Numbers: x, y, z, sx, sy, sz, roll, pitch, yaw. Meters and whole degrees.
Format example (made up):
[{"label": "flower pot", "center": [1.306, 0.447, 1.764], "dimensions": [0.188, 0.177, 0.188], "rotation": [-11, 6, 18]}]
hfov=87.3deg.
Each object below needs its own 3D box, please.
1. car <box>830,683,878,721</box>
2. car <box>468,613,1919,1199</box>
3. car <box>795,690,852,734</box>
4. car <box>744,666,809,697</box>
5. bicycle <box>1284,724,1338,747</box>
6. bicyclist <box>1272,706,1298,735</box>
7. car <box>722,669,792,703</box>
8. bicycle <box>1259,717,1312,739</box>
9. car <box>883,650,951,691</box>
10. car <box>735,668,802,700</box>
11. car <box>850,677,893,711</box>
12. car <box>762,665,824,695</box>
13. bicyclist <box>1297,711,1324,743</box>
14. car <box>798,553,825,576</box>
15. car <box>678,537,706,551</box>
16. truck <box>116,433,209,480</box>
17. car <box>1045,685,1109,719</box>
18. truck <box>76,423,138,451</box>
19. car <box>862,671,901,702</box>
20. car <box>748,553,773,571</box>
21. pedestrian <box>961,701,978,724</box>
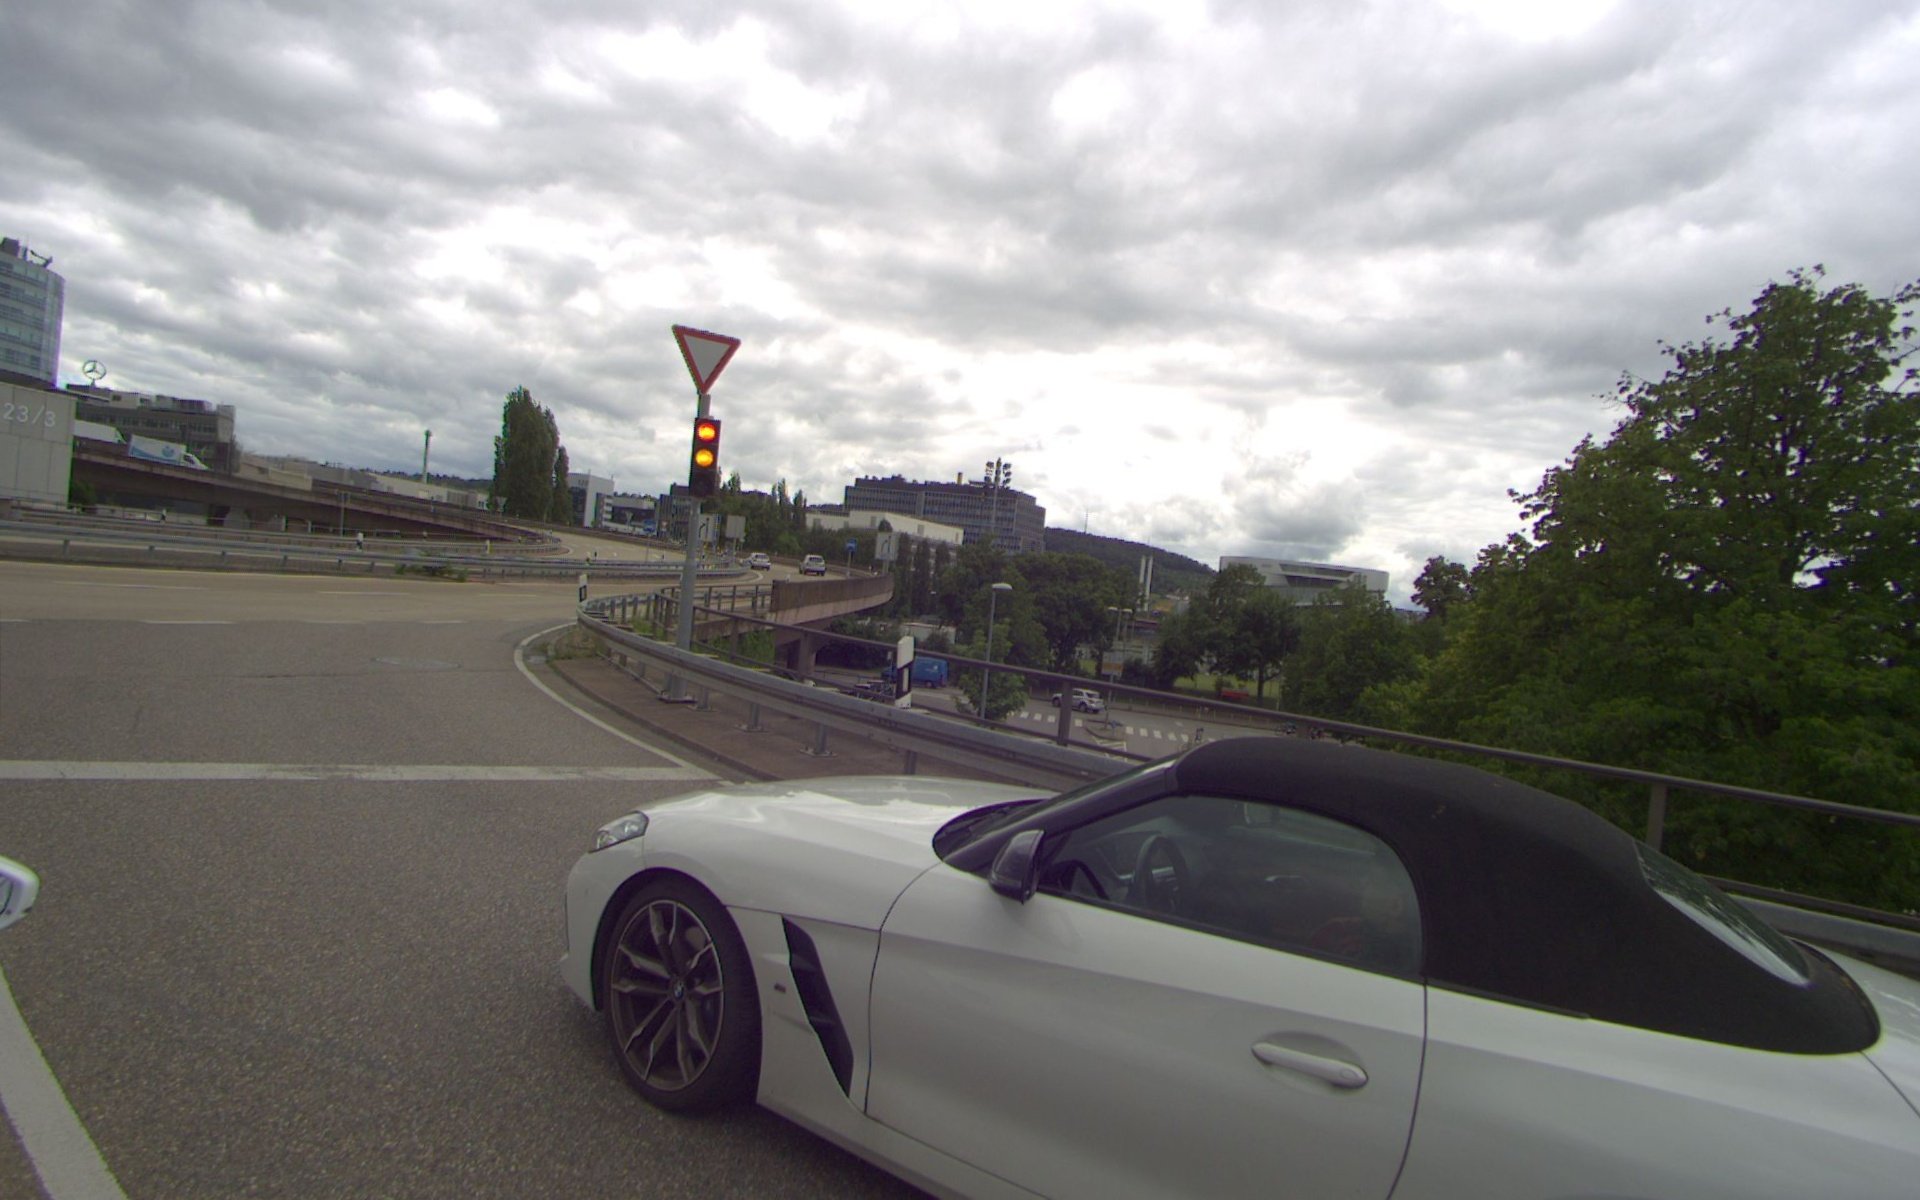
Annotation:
[{"label": "car", "center": [-6.057, 5.802, 57.756], "dimensions": [1.792, 1.553, 4.000], "rotation": [8, 0, 6]}, {"label": "car", "center": [0.648, 0.996, 2.994], "dimensions": [4.194, 1.306, 1.808], "rotation": [7, -2, 33]}, {"label": "car", "center": [-6.863, 5.644, 50.955], "dimensions": [1.792, 1.553, 4.000], "rotation": [8, 0, 6]}, {"label": "car", "center": [-12.073, 5.377, 66.342], "dimensions": [3.792, 1.371, 1.826], "rotation": [8, 1, 1]}, {"label": "bicycle", "center": [27.784, 10.729, 79.659], "dimensions": [3.781, 1.189, 1.094], "rotation": [9, -5, 5]}, {"label": "bicyclist", "center": [26.243, 9.729, 81.261], "dimensions": [1.537, 2.114, 1.094], "rotation": [9, -5, 5]}, {"label": "car", "center": [-12.465, 5.272, 61.883], "dimensions": [3.792, 1.371, 1.826], "rotation": [8, 1, 1]}, {"label": "bicycle", "center": [26.287, 10.325, 81.209], "dimensions": [3.781, 1.189, 1.094], "rotation": [9, -5, 5]}, {"label": "car", "center": [-3.774, 6.160, 88.228], "dimensions": [5.289, 2.617, 2.019], "rotation": [10, -1, 12]}, {"label": "car", "center": [-12.188, 5.320, 64.223], "dimensions": [3.792, 1.371, 1.826], "rotation": [8, 1, 1]}, {"label": "car", "center": [-5.524, 5.839, 63.125], "dimensions": [1.792, 1.553, 4.195], "rotation": [8, 0, 6]}, {"label": "car", "center": [-11.473, 5.493, 69.122], "dimensions": [3.792, 1.371, 1.826], "rotation": [8, 1, 1]}, {"label": "bicyclist", "center": [27.766, 10.043, 79.726], "dimensions": [1.552, 2.273, 1.094], "rotation": [9, -5, 5]}, {"label": "car", "center": [-12.907, -3.039, 87.326], "dimensions": [1.703, 1.758, 4.542], "rotation": [7, 0, -15]}, {"label": "car", "center": [-32.894, -6.919, 123.355], "dimensions": [1.715, 1.480, 4.199], "rotation": [5, 0, -39]}, {"label": "truck", "center": [-85.064, -15.266, 107.472], "dimensions": [7.272, 3.307, 2.312], "rotation": [9, -1, -30]}, {"label": "car", "center": [9.594, 8.382, 82.804], "dimensions": [2.007, 1.883, 4.798], "rotation": [12, -2, -44]}, {"label": "truck", "center": [-110.497, -21.082, 130.356], "dimensions": [1.966, 2.188, 5.636], "rotation": [7, -2, 30]}, {"label": "car", "center": [-5.285, 5.864, 68.560], "dimensions": [1.792, 1.553, 4.000], "rotation": [8, 0, 6]}, {"label": "car", "center": [-17.997, -3.420, 90.827], "dimensions": [1.704, 1.417, 4.051], "rotation": [7, 0, -17]}, {"label": "pedestrian", "center": [0.682, 8.237, 73.566], "dimensions": [0.898, 1.514, 0.750], "rotation": [8, -3, 15]}]
